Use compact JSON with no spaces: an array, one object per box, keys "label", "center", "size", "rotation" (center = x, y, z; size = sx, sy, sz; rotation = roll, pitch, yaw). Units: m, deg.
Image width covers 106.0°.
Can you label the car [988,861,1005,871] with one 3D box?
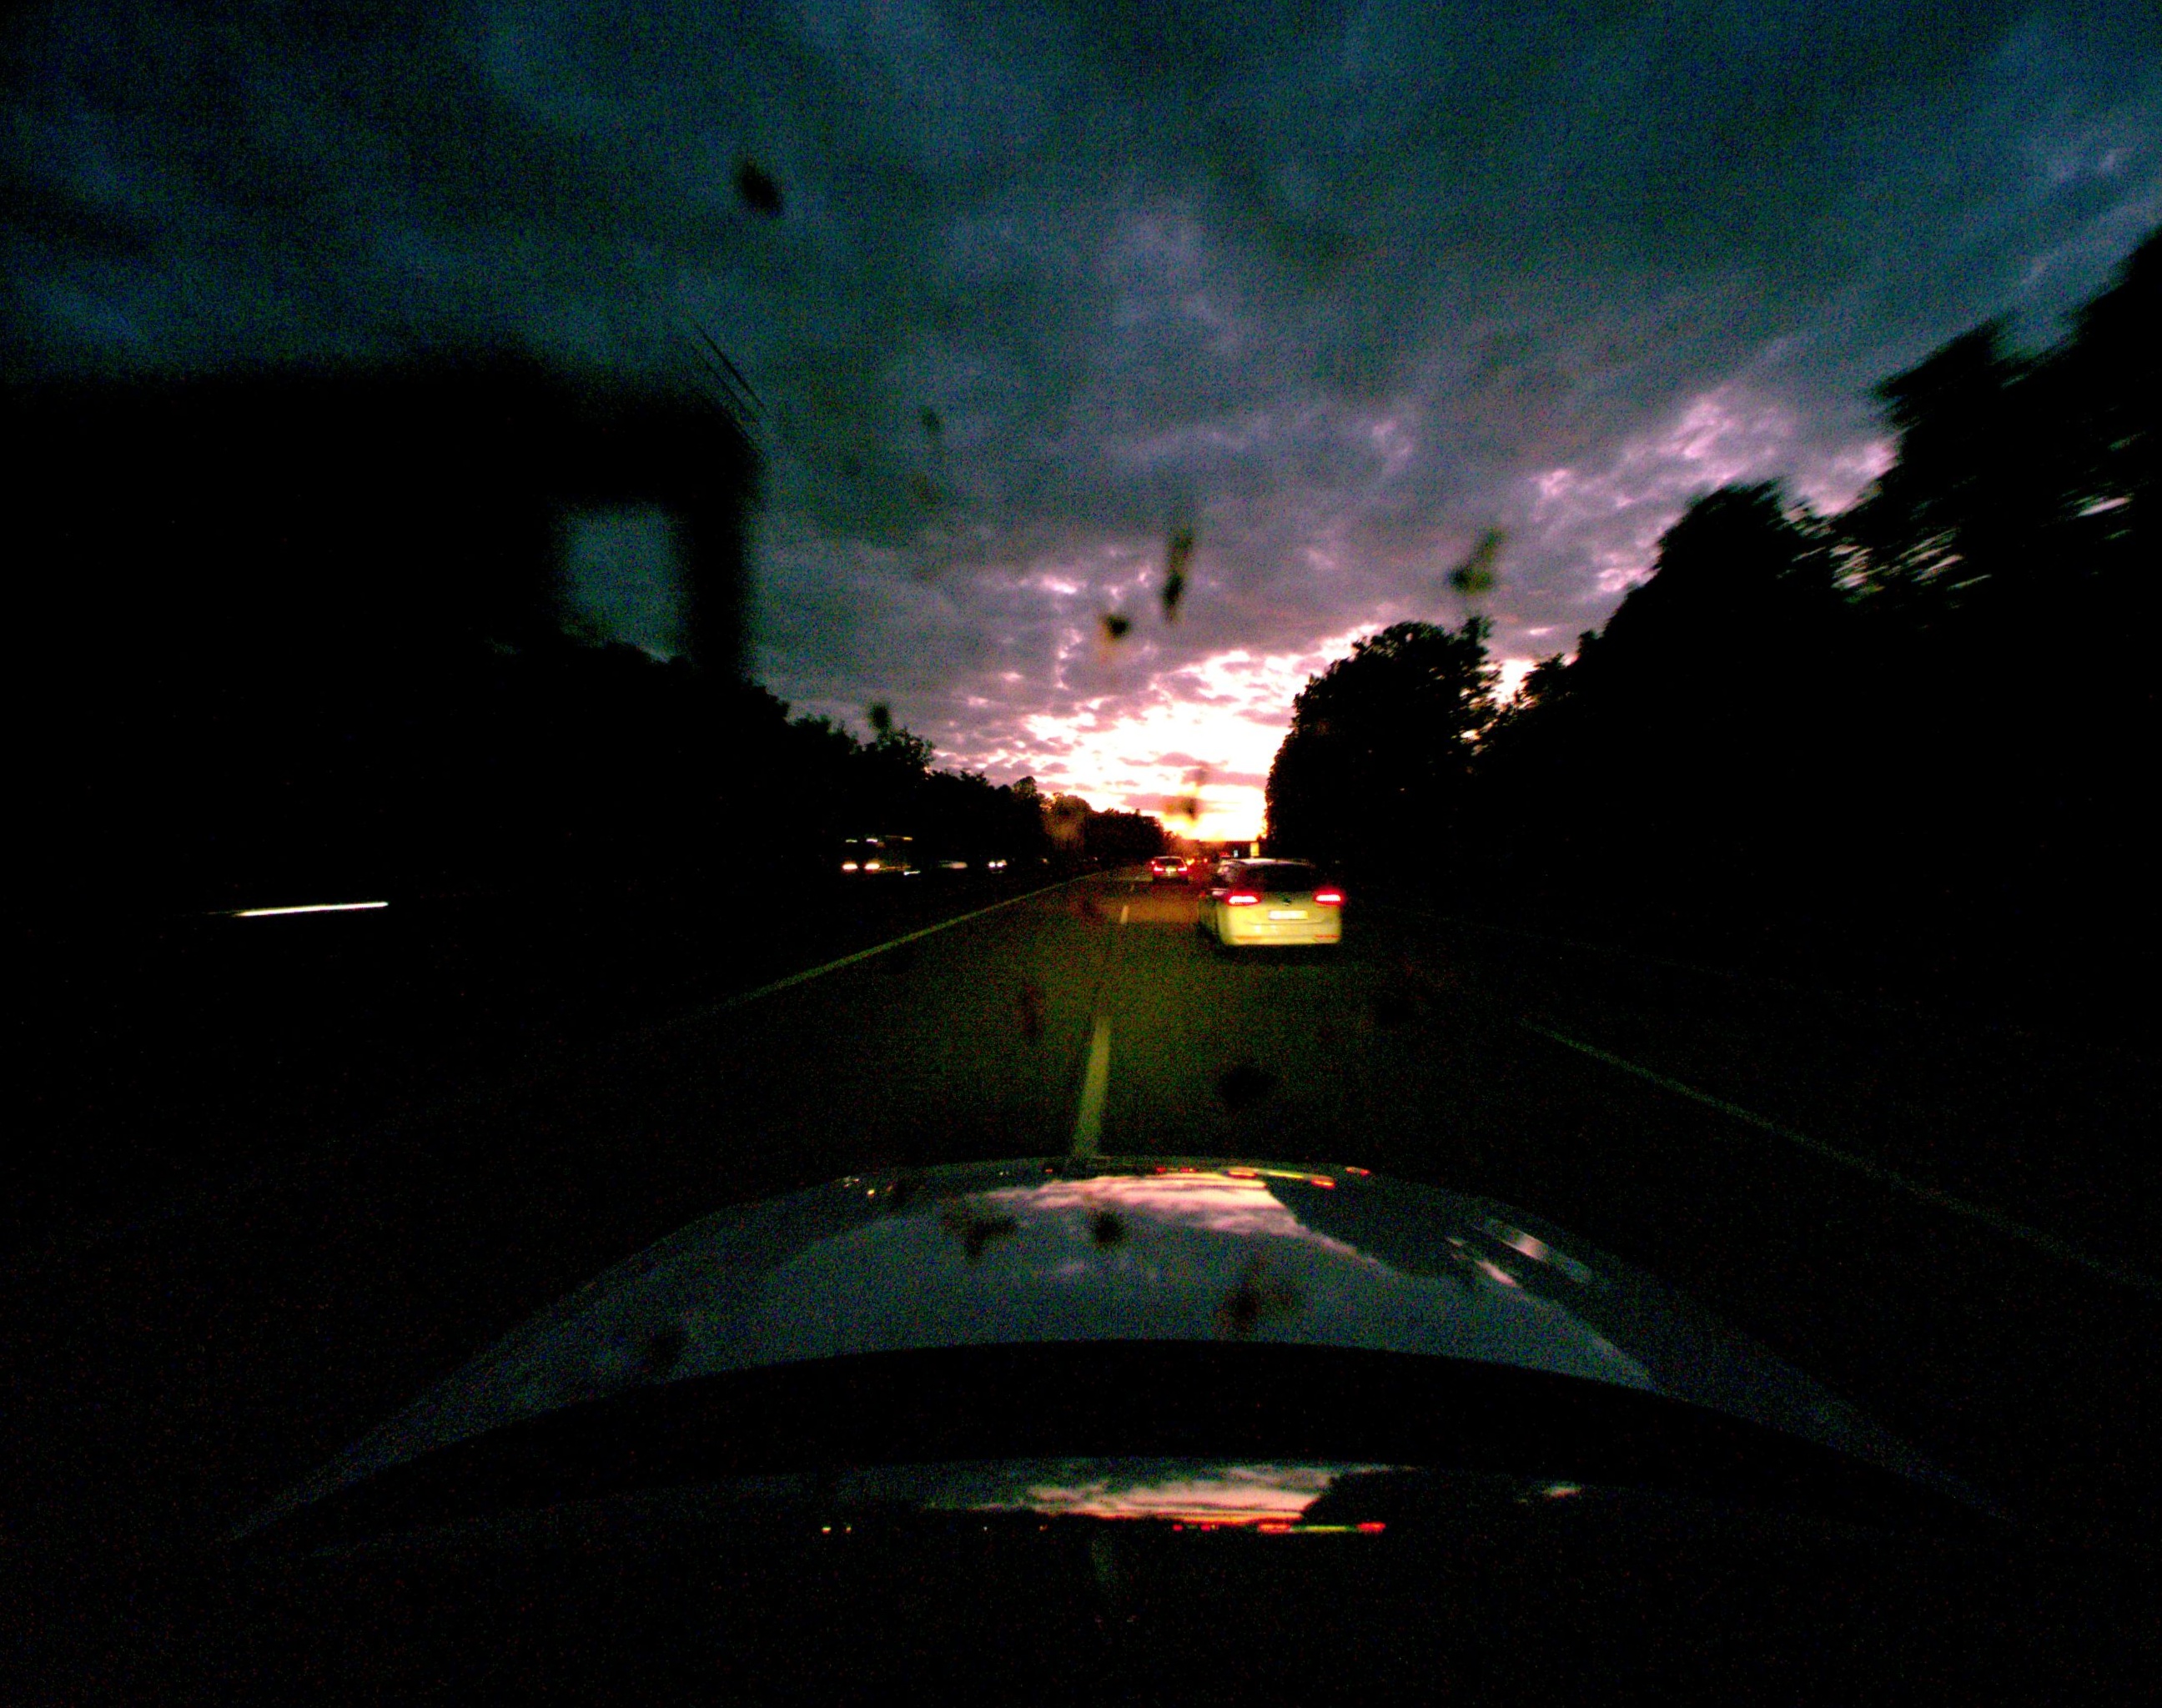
[{"label":"car","center":[-13.616,1.957,131.136],"size":[1.841,1.497,4.602],"rotation":[-1,0,6]}]

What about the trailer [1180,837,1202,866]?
[{"label":"trailer","center":[16.638,-0.295,123.666],"size":[2.892,4.101,10.373],"rotation":[0,-2,6]}]

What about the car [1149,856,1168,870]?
[{"label":"car","center":[8.543,0.978,89.653],"size":[1.852,1.442,3.722],"rotation":[-1,0,2]}]

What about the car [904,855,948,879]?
[{"label":"car","center":[-9.832,0.794,51.932],"size":[1.731,1.411,4.808],"rotation":[-1,0,2]}]

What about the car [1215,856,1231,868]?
[{"label":"car","center":[18.716,1.046,107.392],"size":[1.847,1.442,4.124],"rotation":[-1,-2,12]}]

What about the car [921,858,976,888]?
[{"label":"car","center":[-6.821,0.964,42.297],"size":[1.986,1.436,4.374],"rotation":[-1,0,2]}]

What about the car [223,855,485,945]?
[{"label":"car","center":[-16.389,0.943,18.737],"size":[1.986,1.797,4.374],"rotation":[-1,0,2]}]

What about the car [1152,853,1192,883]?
[{"label":"car","center":[4.895,0.723,44.593],"size":[1.901,1.537,5.236],"rotation":[-1,0,3]}]

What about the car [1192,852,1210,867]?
[{"label":"car","center":[13.661,0.690,92.696],"size":[1.891,1.643,5.066],"rotation":[-1,-1,10]}]

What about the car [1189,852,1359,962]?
[{"label":"car","center":[2.960,0.717,13.660],"size":[1.802,1.466,5.135],"rotation":[-1,0,2]}]

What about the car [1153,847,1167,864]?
[{"label":"car","center":[12.377,0.302,127.930],"size":[2.155,2.419,5.570],"rotation":[-1,-2,5]}]

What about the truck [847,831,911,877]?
[{"label":"truck","center":[-19.002,0.040,77.480],"size":[2.632,4.011,10.558],"rotation":[-1,0,5]}]
